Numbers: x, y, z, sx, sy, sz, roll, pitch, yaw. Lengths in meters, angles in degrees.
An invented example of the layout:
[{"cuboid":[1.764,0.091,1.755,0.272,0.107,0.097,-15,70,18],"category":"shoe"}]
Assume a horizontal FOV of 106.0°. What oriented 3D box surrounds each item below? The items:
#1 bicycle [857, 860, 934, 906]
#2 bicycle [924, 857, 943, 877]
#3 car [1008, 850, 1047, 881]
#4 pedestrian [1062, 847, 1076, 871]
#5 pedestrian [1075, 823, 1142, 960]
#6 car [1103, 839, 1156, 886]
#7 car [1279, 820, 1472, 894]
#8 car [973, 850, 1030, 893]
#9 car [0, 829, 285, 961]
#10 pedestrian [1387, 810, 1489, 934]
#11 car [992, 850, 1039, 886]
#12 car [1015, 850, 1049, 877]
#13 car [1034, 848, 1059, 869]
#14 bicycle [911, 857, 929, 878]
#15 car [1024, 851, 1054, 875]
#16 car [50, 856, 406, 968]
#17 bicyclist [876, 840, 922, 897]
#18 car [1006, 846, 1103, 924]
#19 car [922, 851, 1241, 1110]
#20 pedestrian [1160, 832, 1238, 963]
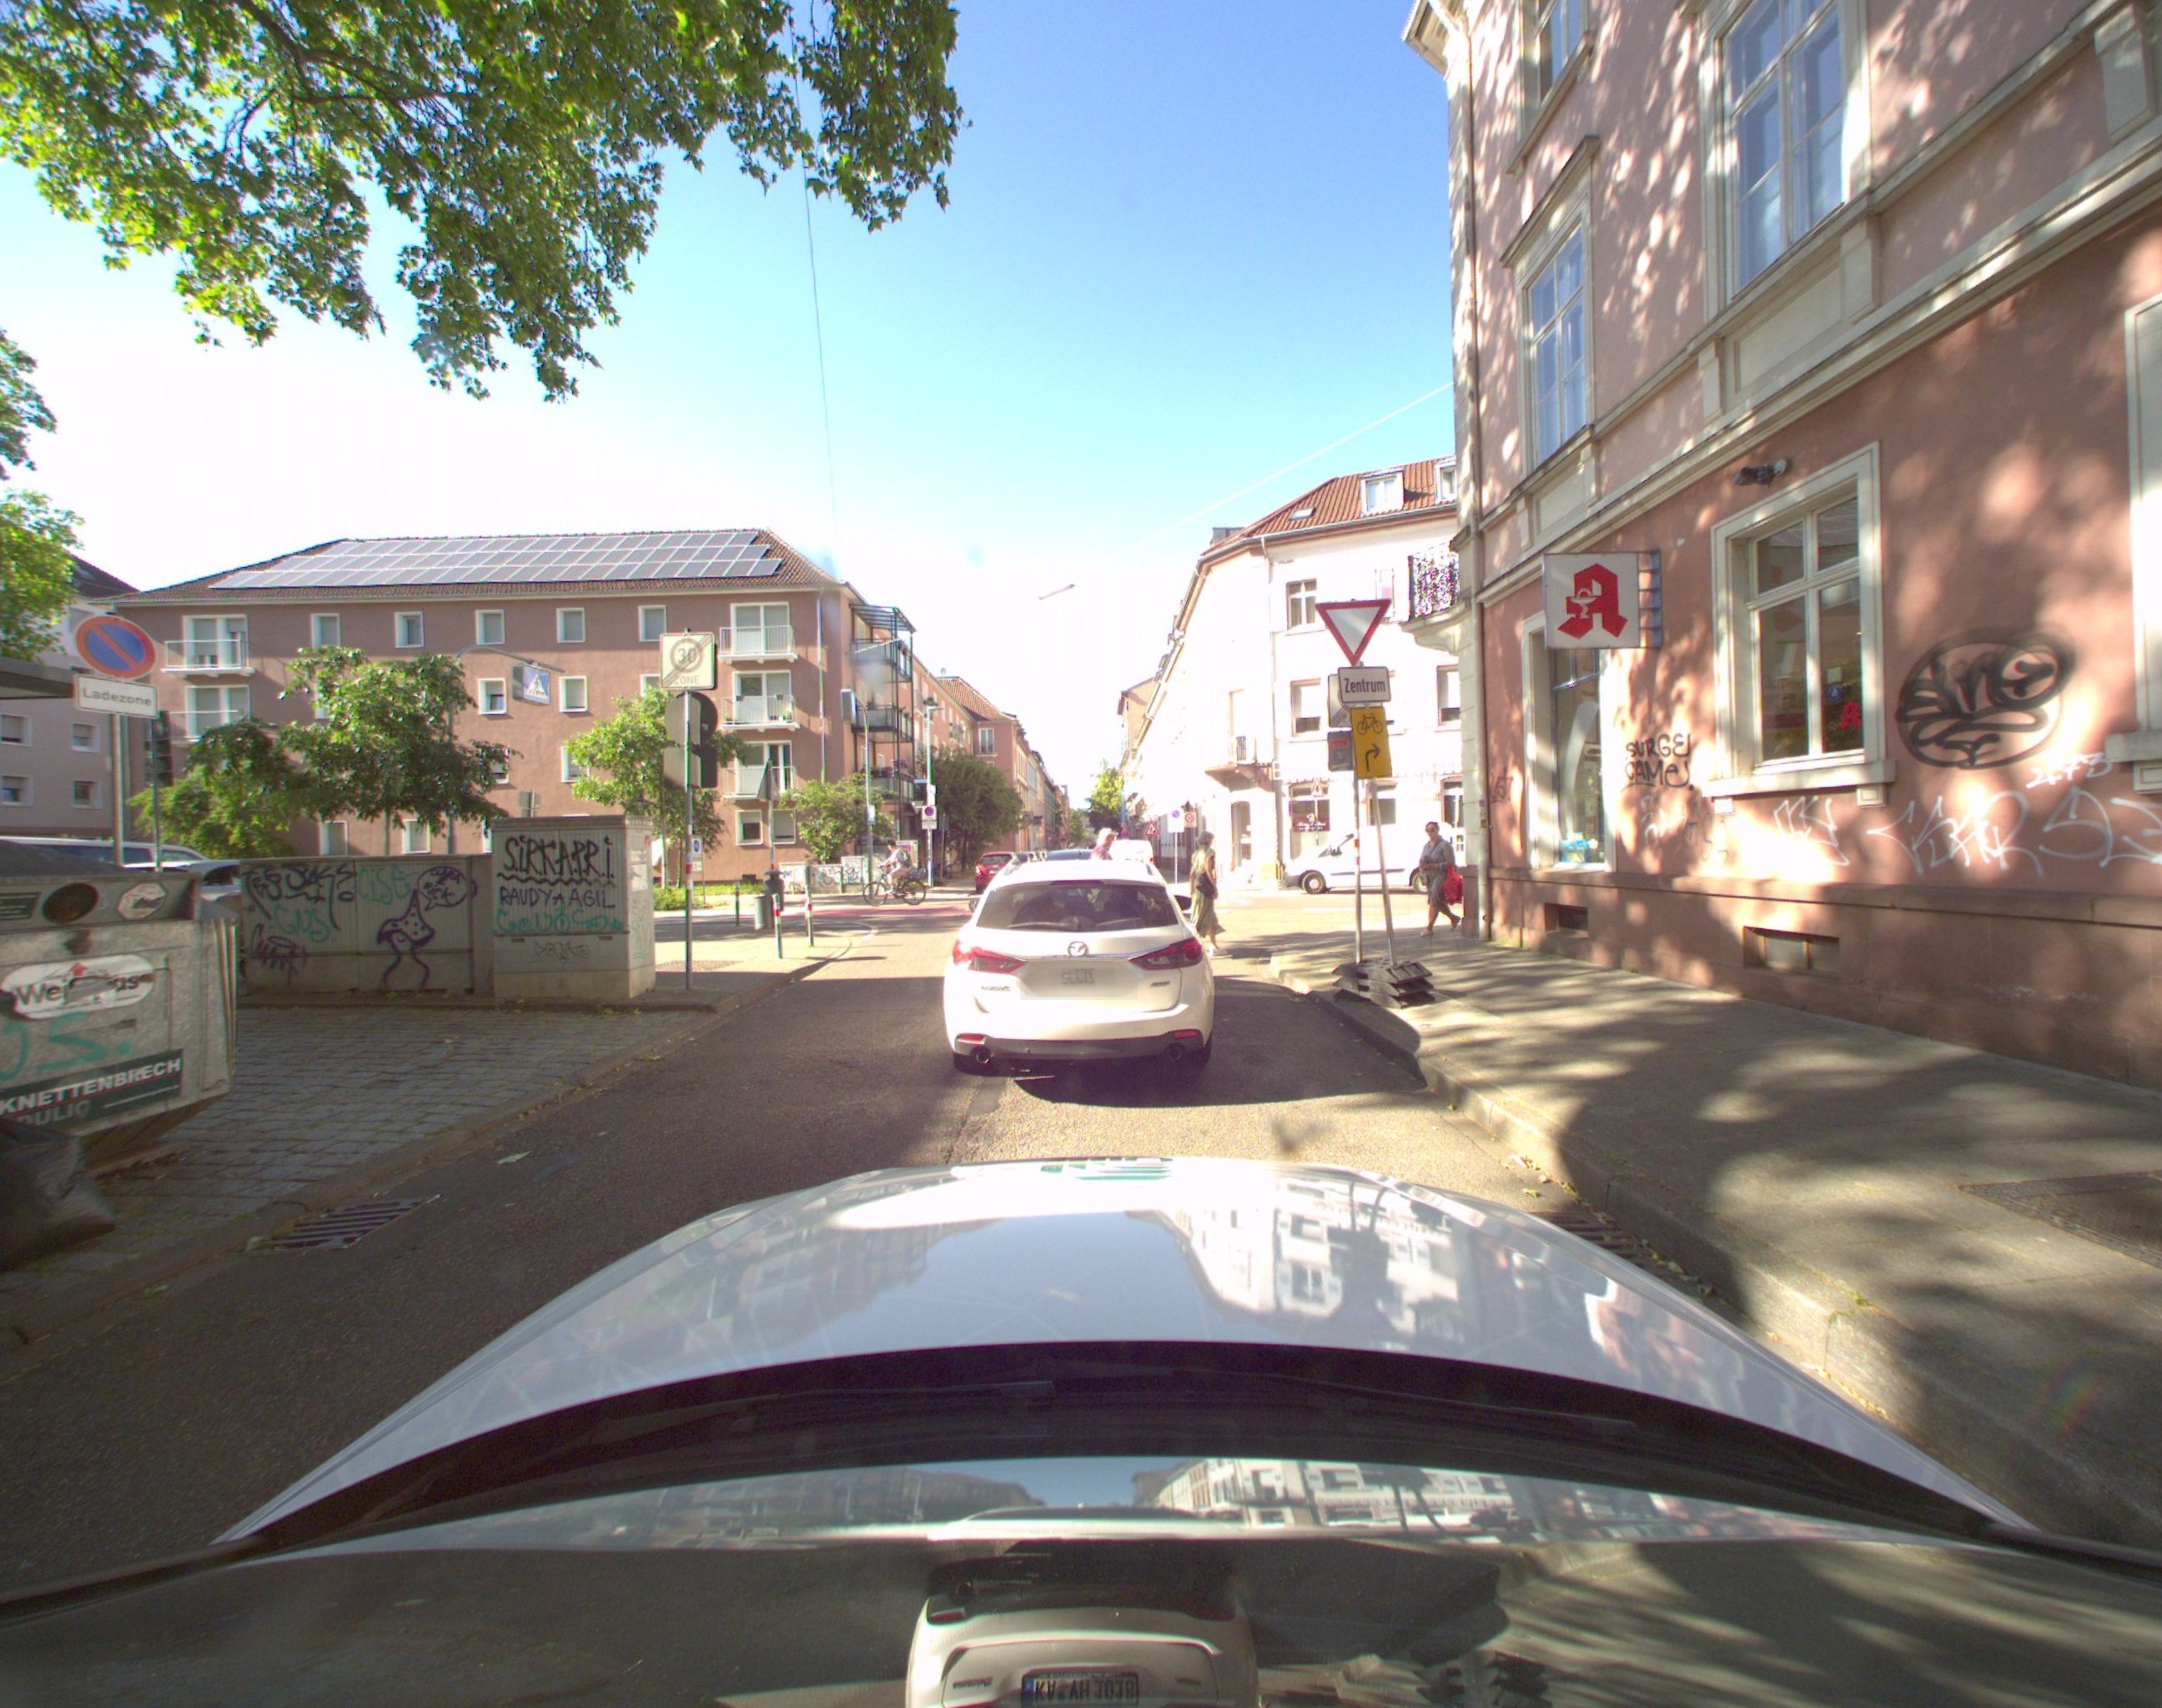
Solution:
[{"cuboid":[-5.128,0.797,22.611,1.940,1.198,0.630,-2,0,1],"category":"bicycle"},{"cuboid":[-7.872,0.685,43.508,1.204,1.071,0.255,-1,0,40],"category":"bicycle"},{"cuboid":[-2.796,0.577,42.941,1.647,1.500,3.764,-1,0,2],"category":"car"},{"cuboid":[-0.810,0.352,55.646,0.733,1.614,0.813,-2,0,-11],"category":"pedestrian"},{"cuboid":[0.376,0.495,11.194,0.747,1.764,0.831,-5,0,1],"category":"pedestrian"},{"cuboid":[2.028,0.319,35.141,1.889,1.859,5.012,1,0,-1],"category":"car"},{"cuboid":[8.402,0.101,23.348,4.964,1.946,2.062,-1,0,23],"category":"car"},{"cuboid":[-3.013,0.628,31.643,1.678,1.500,3.808,-1,0,2],"category":"car"},{"cuboid":[-17.377,0.690,14.398,1.947,2.006,4.743,-2,-1,-1],"category":"car"},{"cuboid":[4.953,0.251,11.347,0.842,1.573,0.845,-7,-2,-4],"category":"pedestrian"},{"cuboid":[-2.968,0.611,37.511,1.647,1.500,4.081,-1,0,2],"category":"car"},{"cuboid":[-2.932,0.558,49.405,1.647,1.500,3.764,-1,0,2],"category":"car"},{"cuboid":[-2.669,0.337,63.998,1.647,1.500,3.764,-1,0,2],"category":"car"},{"cuboid":[-8.537,0.705,43.197,1.201,1.071,0.255,-1,0,40],"category":"bicycle"},{"cuboid":[-2.740,0.544,53.611,1.647,1.500,3.764,-1,0,2],"category":"car"},{"cuboid":[-14.755,0.886,14.537,1.747,1.612,4.304,-2,0,0],"category":"car"},{"cuboid":[-5.041,0.387,22.603,1.038,1.519,0.739,-2,0,1],"category":"bicyclist"},{"cuboid":[-0.437,0.569,17.341,1.754,1.410,4.330,-1,0,2],"category":"car"},{"cuboid":[0.062,0.732,6.727,1.824,1.457,3.964,-2,0,2],"category":"car"},{"cuboid":[1.595,0.572,11.125,0.833,1.667,0.626,-6,0,1],"category":"pedestrian"}]
